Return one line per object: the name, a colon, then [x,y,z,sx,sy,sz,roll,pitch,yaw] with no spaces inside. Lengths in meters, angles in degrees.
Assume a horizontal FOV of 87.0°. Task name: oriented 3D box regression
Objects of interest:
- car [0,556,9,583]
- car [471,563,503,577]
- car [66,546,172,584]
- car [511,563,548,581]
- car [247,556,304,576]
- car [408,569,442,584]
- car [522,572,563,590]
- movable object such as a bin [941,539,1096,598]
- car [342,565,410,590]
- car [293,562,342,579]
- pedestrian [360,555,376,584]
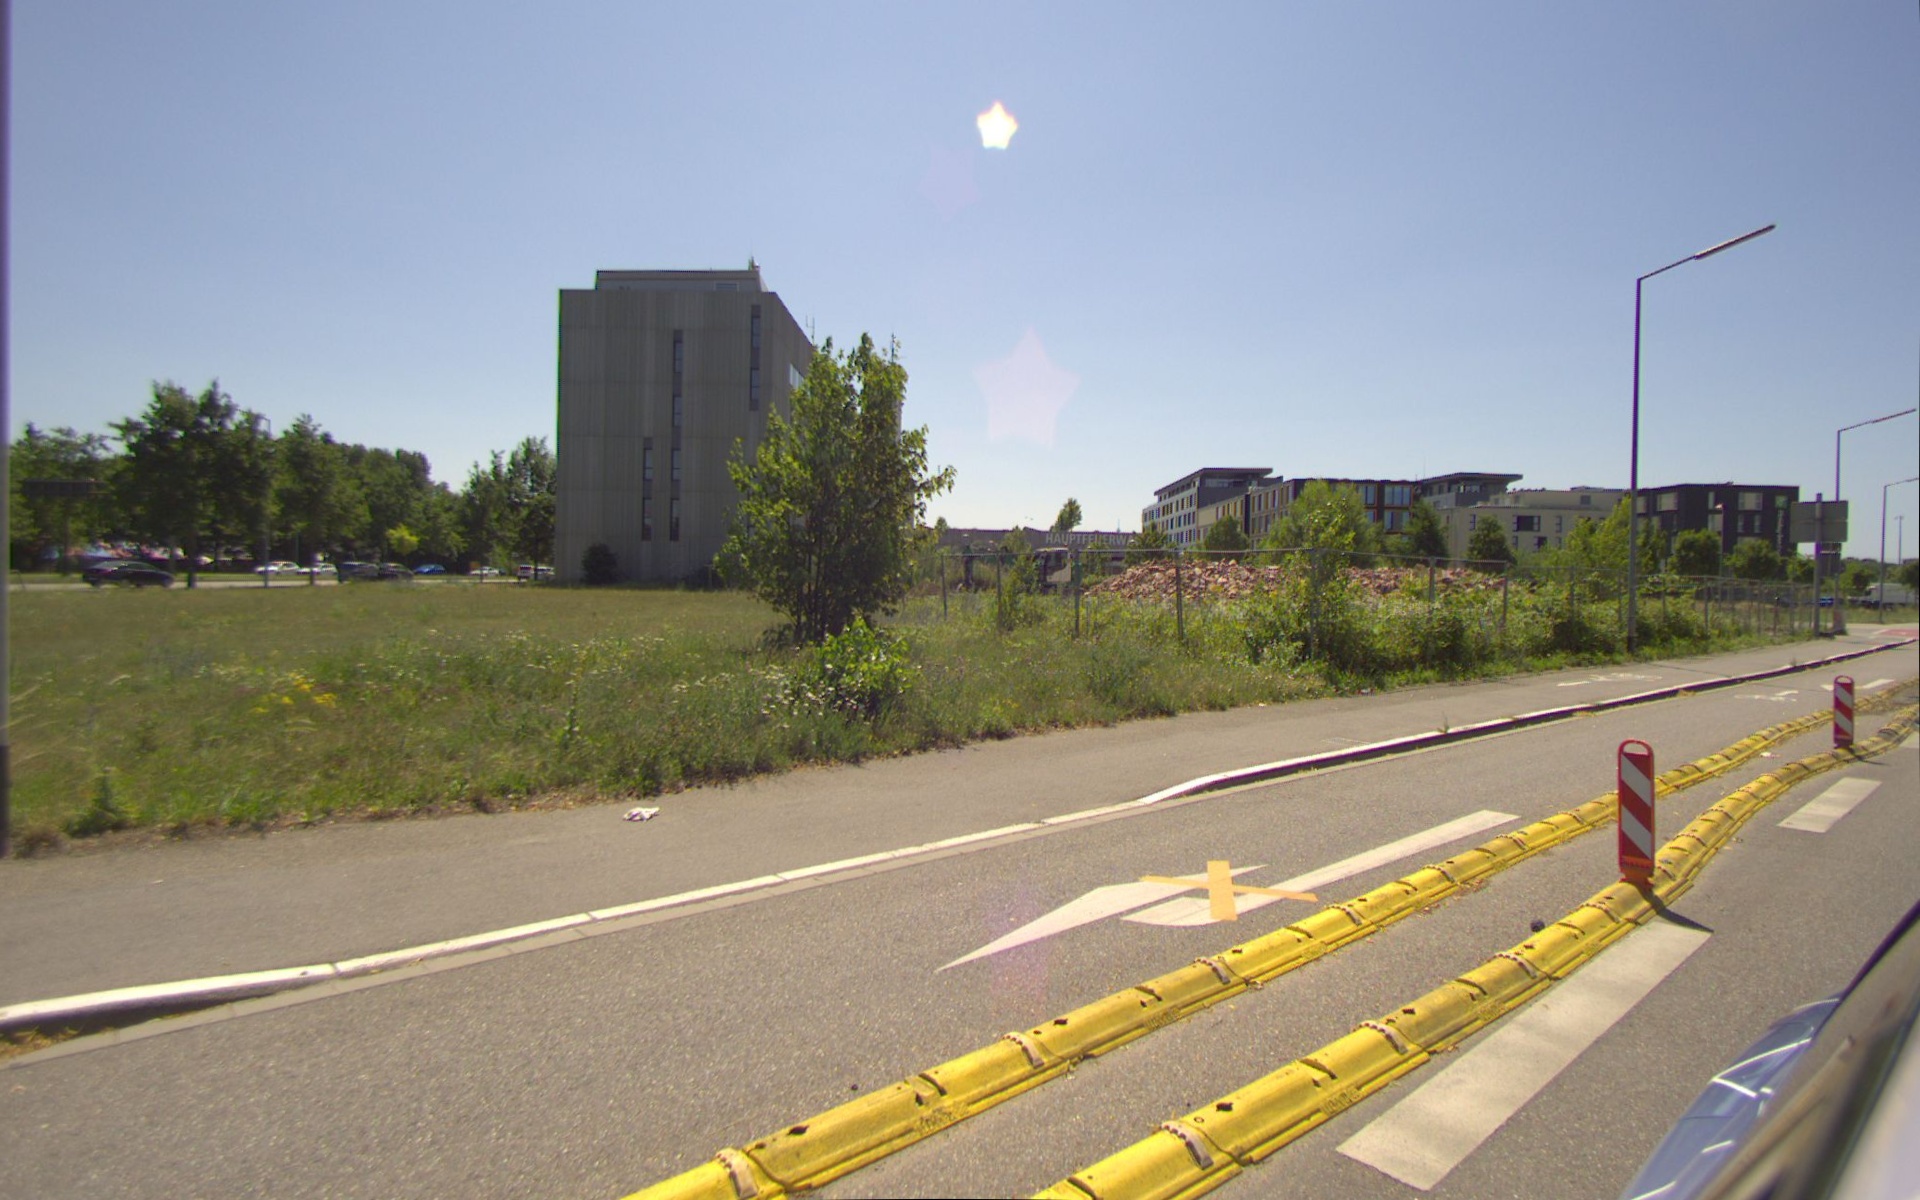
car: [-59.262,-1.841,59.868,1.814,1.612,4.443,0,0,1]
car: [-56.860,-3.615,121.756,1.814,1.612,4.443,0,0,1]
car: [-45.776,-1.858,55.231,1.961,1.961,4.645,0,0,-1]
car: [-45.640,-2.955,107.322,1.962,1.757,4.645,0,0,-1]
car: [-58.477,-2.893,86.562,1.814,1.612,4.443,0,0,1]
car: [-61.165,-2.679,115.763,1.734,1.557,3.997,0,0,3]
car: [-42.006,-1.914,101.909,1.964,1.757,4.639,0,0,4]
movable object such as a bin: [3.104,-1.599,53.296,7.537,2.952,3.242,-1,0,-26]
car: [-41.917,-1.599,72.759,1.964,1.757,4.639,0,0,4]
car: [-61.810,-2.837,97.453,1.814,1.611,4.444,1,1,1]
pedestrian: [-33.869,-1.744,57.924,0.652,1.611,0.557,0,0,-15]
